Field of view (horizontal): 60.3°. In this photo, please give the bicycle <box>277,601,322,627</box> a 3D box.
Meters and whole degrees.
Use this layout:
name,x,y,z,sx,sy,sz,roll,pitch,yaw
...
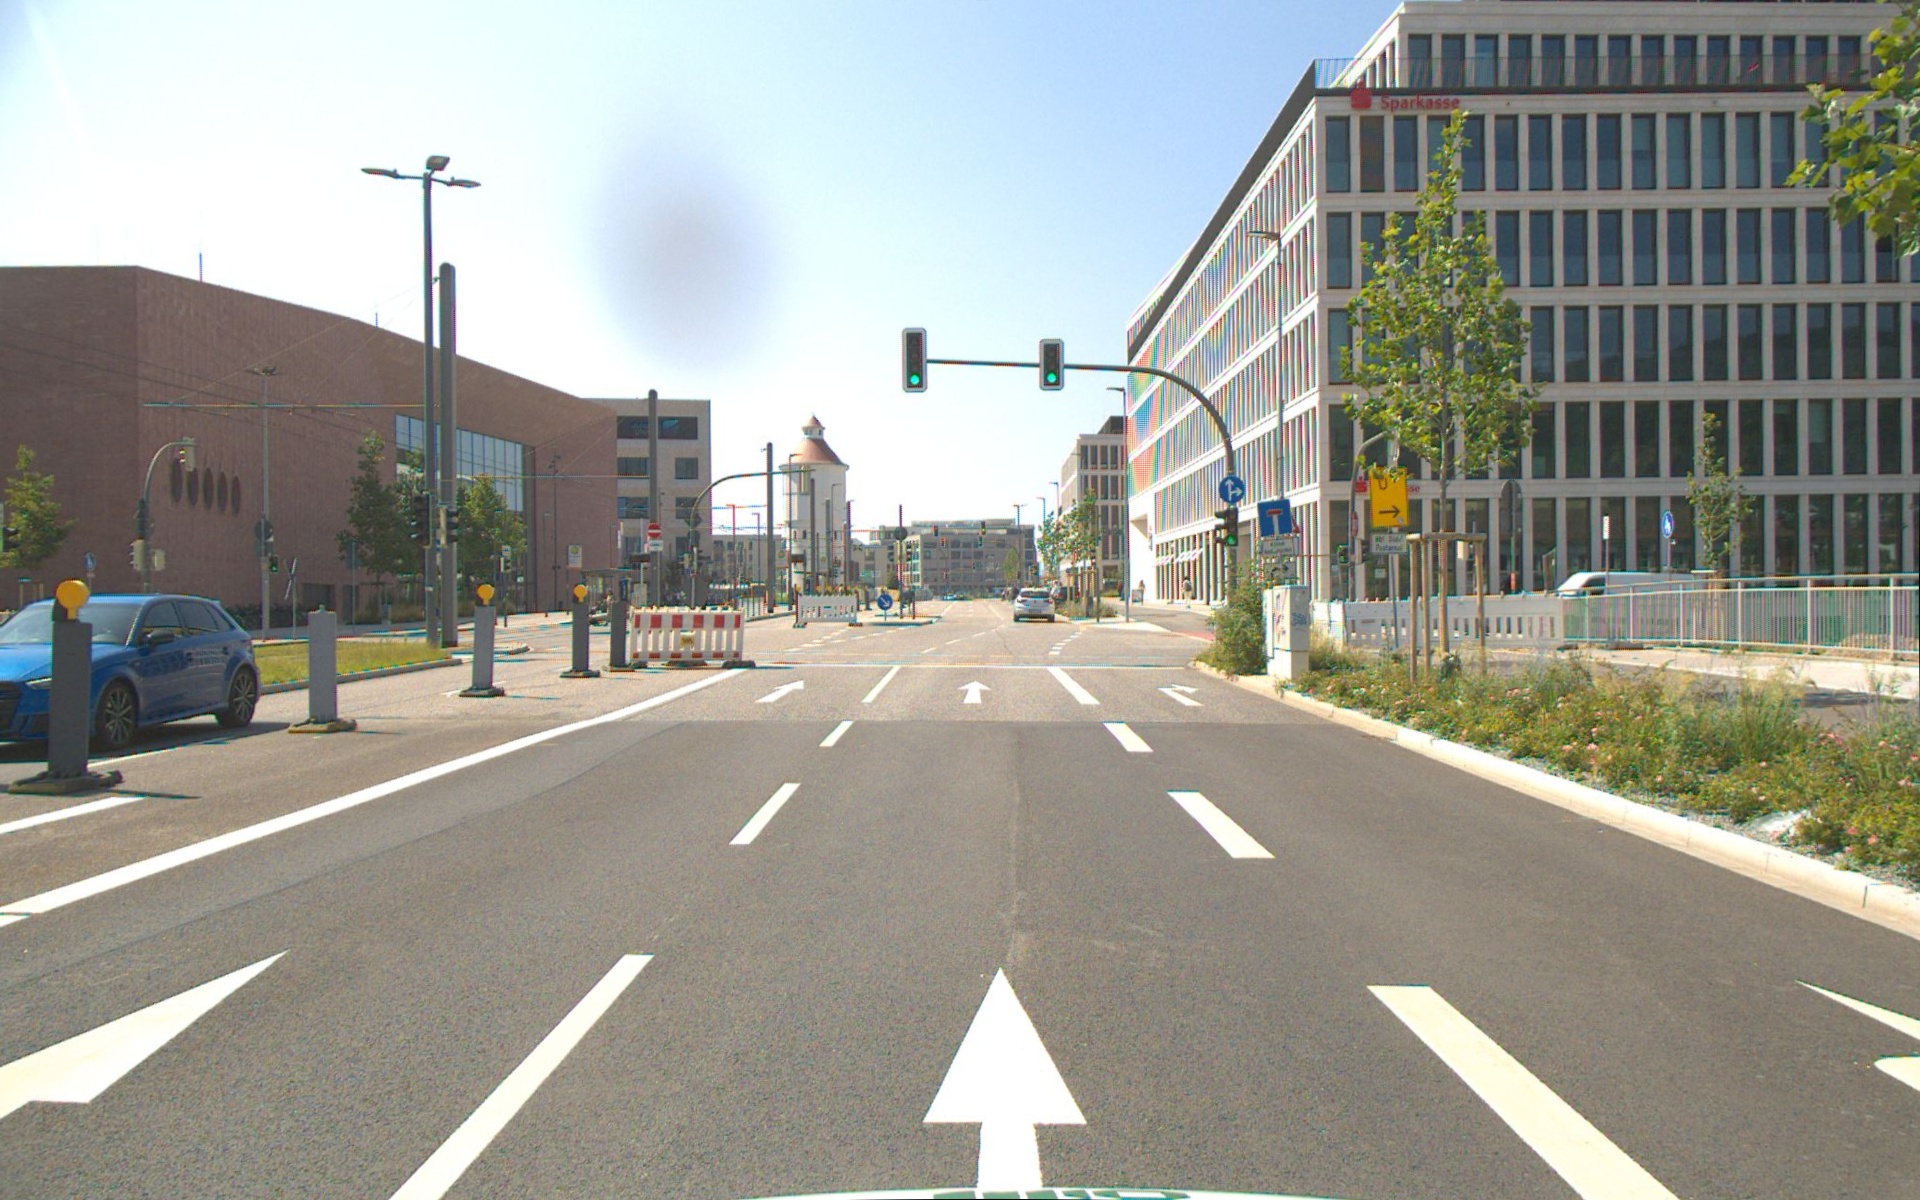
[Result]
name,x,y,z,sx,sy,sz,roll,pitch,yaw
bicycle,-33.070,0.697,82.884,2.014,1.233,0.538,0,1,-11

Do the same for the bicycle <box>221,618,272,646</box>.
name,x,y,z,sx,sy,sz,roll,pitch,yaw
bicycle,-31.581,1.414,73.216,2.014,1.233,0.538,0,1,-11

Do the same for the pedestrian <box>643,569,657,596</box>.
name,x,y,z,sx,sy,sz,roll,pitch,yaw
pedestrian,-21.342,-1.191,114.024,0.794,1.852,0.825,0,0,1

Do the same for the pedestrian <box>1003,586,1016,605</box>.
name,x,y,z,sx,sy,sz,roll,pitch,yaw
pedestrian,4.346,-0.386,145.175,0.879,1.703,1.008,-1,0,-18

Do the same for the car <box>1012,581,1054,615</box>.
name,x,y,z,sx,sy,sz,roll,pitch,yaw
car,3.177,-0.071,72.079,1.735,1.419,3.532,1,-1,2

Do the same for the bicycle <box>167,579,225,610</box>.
name,x,y,z,sx,sy,sz,roll,pitch,yaw
bicycle,-30.412,-0.221,65.842,2.015,1.233,0.538,0,1,-12

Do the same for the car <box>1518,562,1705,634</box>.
name,x,y,z,sx,sy,sz,roll,pitch,yaw
car,22.938,-0.082,58.411,5.717,2.310,2.147,2,0,0

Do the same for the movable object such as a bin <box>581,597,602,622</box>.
name,x,y,z,sx,sy,sz,roll,pitch,yaw
movable object such as a bin,-15.907,0.415,71.374,0.705,1.050,0.785,0,1,-31

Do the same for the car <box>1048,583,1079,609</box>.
name,x,y,z,sx,sy,sz,roll,pitch,yaw
car,6.052,-0.225,96.520,1.700,1.500,3.982,0,0,5

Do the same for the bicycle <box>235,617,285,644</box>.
name,x,y,z,sx,sy,sz,roll,pitch,yaw
bicycle,-31.977,1.387,75.605,2.014,1.233,0.538,0,1,-11

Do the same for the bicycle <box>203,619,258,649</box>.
name,x,y,z,sx,sy,sz,roll,pitch,yaw
bicycle,-30.893,1.427,70.058,2.014,1.233,0.538,0,1,-11

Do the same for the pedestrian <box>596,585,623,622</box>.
name,x,y,z,sx,sy,sz,roll,pitch,yaw
pedestrian,-15.216,0.149,71.802,0.920,1.590,0.785,-1,1,-31

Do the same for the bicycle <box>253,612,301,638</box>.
name,x,y,z,sx,sy,sz,roll,pitch,yaw
bicycle,-32.339,1.184,78.332,2.014,1.233,0.538,0,1,-11

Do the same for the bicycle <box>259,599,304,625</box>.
name,x,y,z,sx,sy,sz,roll,pitch,yaw
bicycle,-32.518,0.558,79.324,1.847,1.233,0.746,0,0,-7

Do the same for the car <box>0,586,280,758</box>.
name,x,y,z,sx,sy,sz,roll,pitch,yaw
car,-8.414,0.619,16.299,1.595,1.452,4.290,-2,0,0

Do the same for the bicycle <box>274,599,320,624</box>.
name,x,y,z,sx,sy,sz,roll,pitch,yaw
bicycle,-33.008,0.555,82.377,2.014,1.233,0.538,0,1,-11

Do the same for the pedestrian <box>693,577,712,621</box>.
name,x,y,z,sx,sy,sz,roll,pitch,yaw
pedestrian,-10.949,-0.057,70.292,0.639,1.865,0.661,0,1,5

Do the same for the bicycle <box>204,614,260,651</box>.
name,x,y,z,sx,sy,sz,roll,pitch,yaw
bicycle,-29.859,1.318,67.869,2.014,1.478,0.538,0,1,-11

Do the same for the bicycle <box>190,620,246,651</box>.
name,x,y,z,sx,sy,sz,roll,pitch,yaw
bicycle,-30.336,1.441,67.611,2.014,1.233,0.538,0,1,-11

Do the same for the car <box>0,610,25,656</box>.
name,x,y,z,sx,sy,sz,roll,pitch,yaw
car,-31.916,1.038,52.663,3.407,1.393,1.573,0,1,-1

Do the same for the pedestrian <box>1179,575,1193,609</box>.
name,x,y,z,sx,sy,sz,roll,pitch,yaw
pedestrian,11.999,-0.431,87.852,0.615,1.772,0.814,-1,0,0
